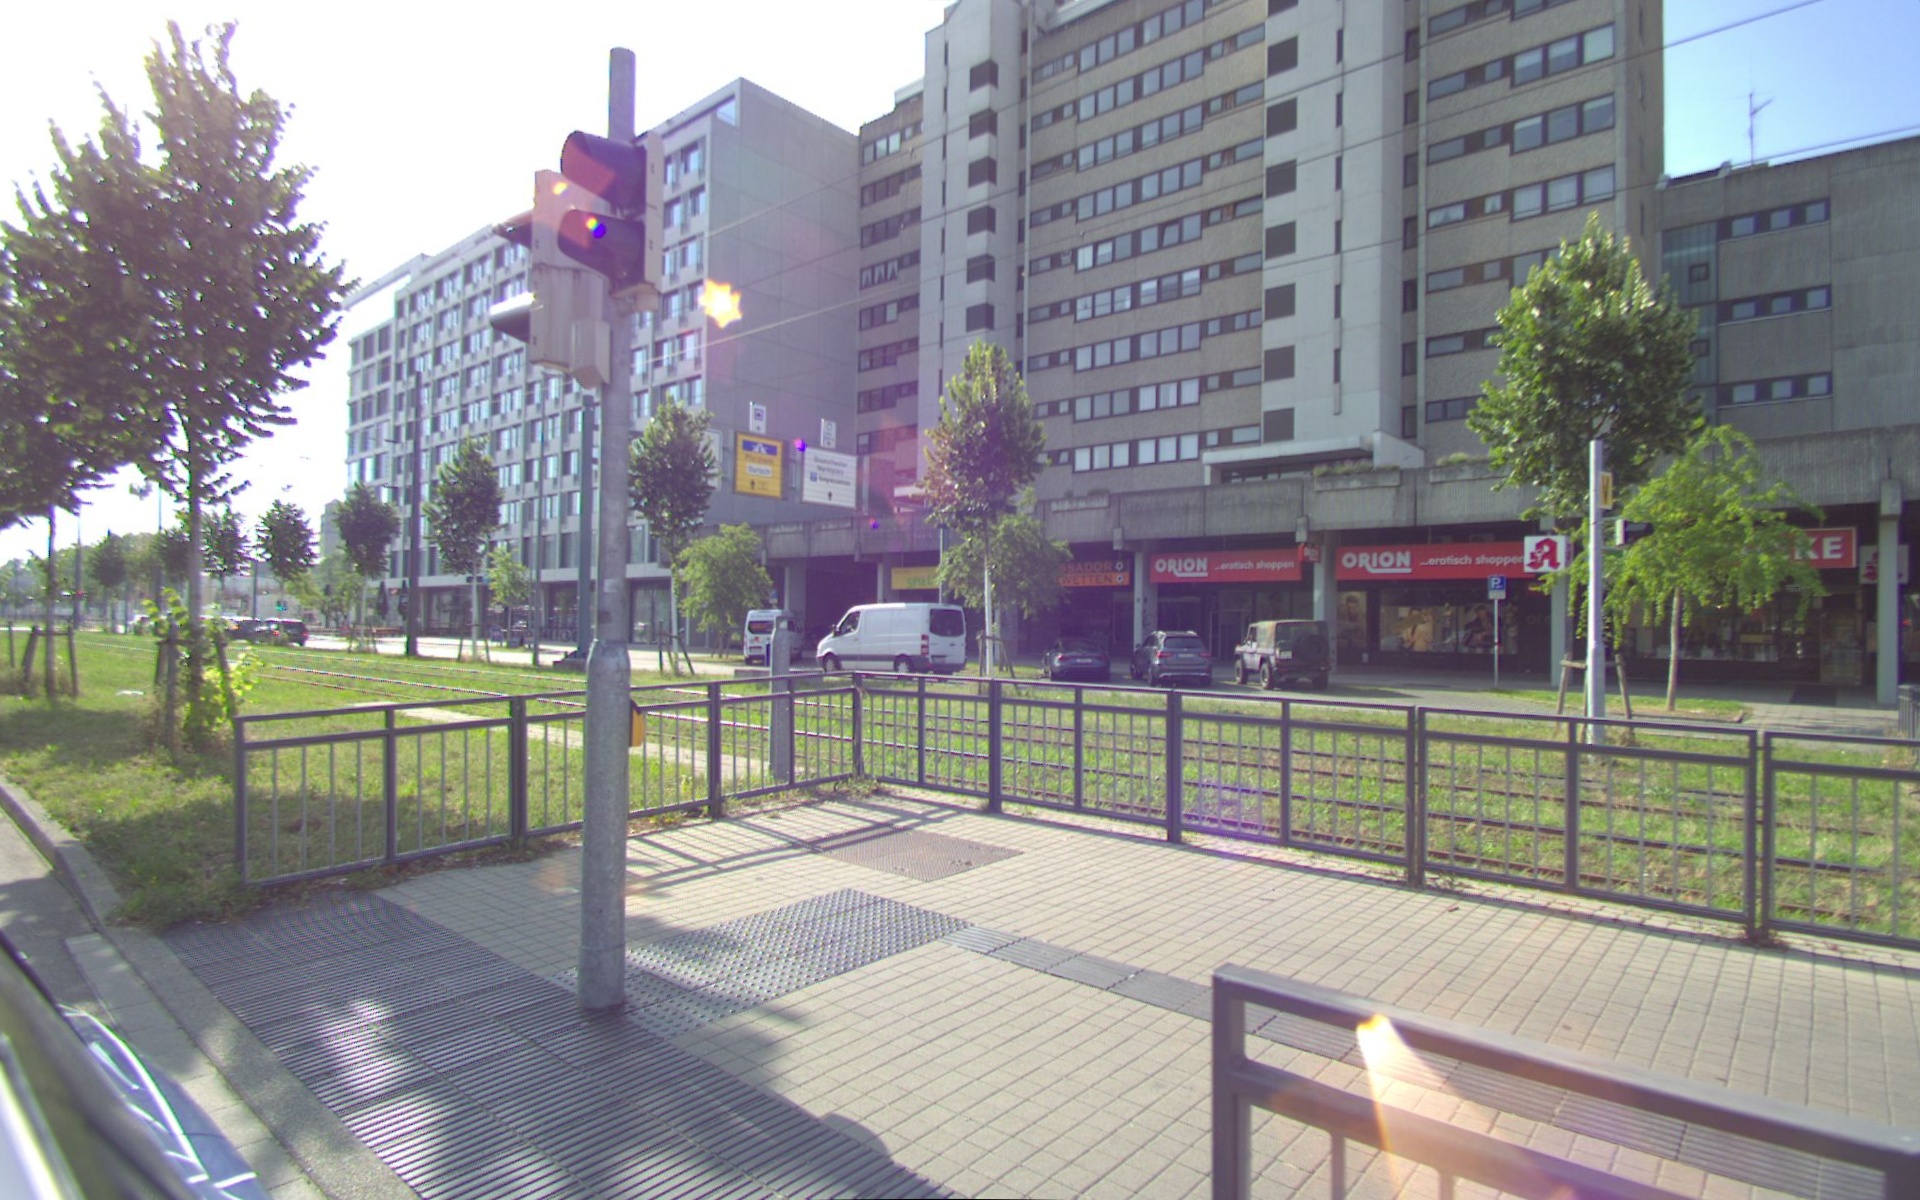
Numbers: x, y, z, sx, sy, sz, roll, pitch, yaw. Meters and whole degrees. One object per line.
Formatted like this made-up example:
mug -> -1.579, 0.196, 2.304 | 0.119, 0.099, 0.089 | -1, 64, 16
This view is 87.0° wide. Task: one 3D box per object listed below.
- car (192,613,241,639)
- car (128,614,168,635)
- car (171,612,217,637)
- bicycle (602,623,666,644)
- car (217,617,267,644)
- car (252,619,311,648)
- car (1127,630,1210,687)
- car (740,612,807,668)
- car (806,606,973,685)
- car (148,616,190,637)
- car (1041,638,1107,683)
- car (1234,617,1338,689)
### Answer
car -> -46.739, 1.620, 63.567 | 4.001, 1.586, 1.787 | -1, -2, 44
car -> -62.734, 1.892, 78.151 | 3.999, 1.536, 1.763 | -1, -2, 42
car -> -50.855, 1.633, 67.179 | 4.001, 1.586, 1.787 | -1, -2, 44
bicycle -> -21.694, 2.225, 67.473 | 3.936, 1.377, 1.128 | 2, -2, -40
car -> -42.030, 1.790, 59.251 | 3.642, 1.498, 1.721 | -1, -2, 44
car -> -36.269, 1.765, 54.051 | 4.001, 1.492, 1.787 | -1, -2, 44
car -> 6.462, 1.777, 31.777 | 1.854, 1.618, 4.109 | 1, -2, 2
car -> -8.236, 1.747, 45.163 | 1.859, 2.326, 5.406 | 1, -2, 1
car -> -2.286, 1.354, 31.616 | 5.331, 2.256, 2.025 | -1, -2, 41
car -> -56.178, 1.867, 71.851 | 4.001, 1.486, 1.787 | -1, -2, 44
car -> 3.765, 1.993, 34.126 | 1.854, 1.253, 4.109 | -1, 0, 2
car -> 9.580, 1.524, 30.105 | 1.854, 1.983, 4.109 | 1, -2, 2
